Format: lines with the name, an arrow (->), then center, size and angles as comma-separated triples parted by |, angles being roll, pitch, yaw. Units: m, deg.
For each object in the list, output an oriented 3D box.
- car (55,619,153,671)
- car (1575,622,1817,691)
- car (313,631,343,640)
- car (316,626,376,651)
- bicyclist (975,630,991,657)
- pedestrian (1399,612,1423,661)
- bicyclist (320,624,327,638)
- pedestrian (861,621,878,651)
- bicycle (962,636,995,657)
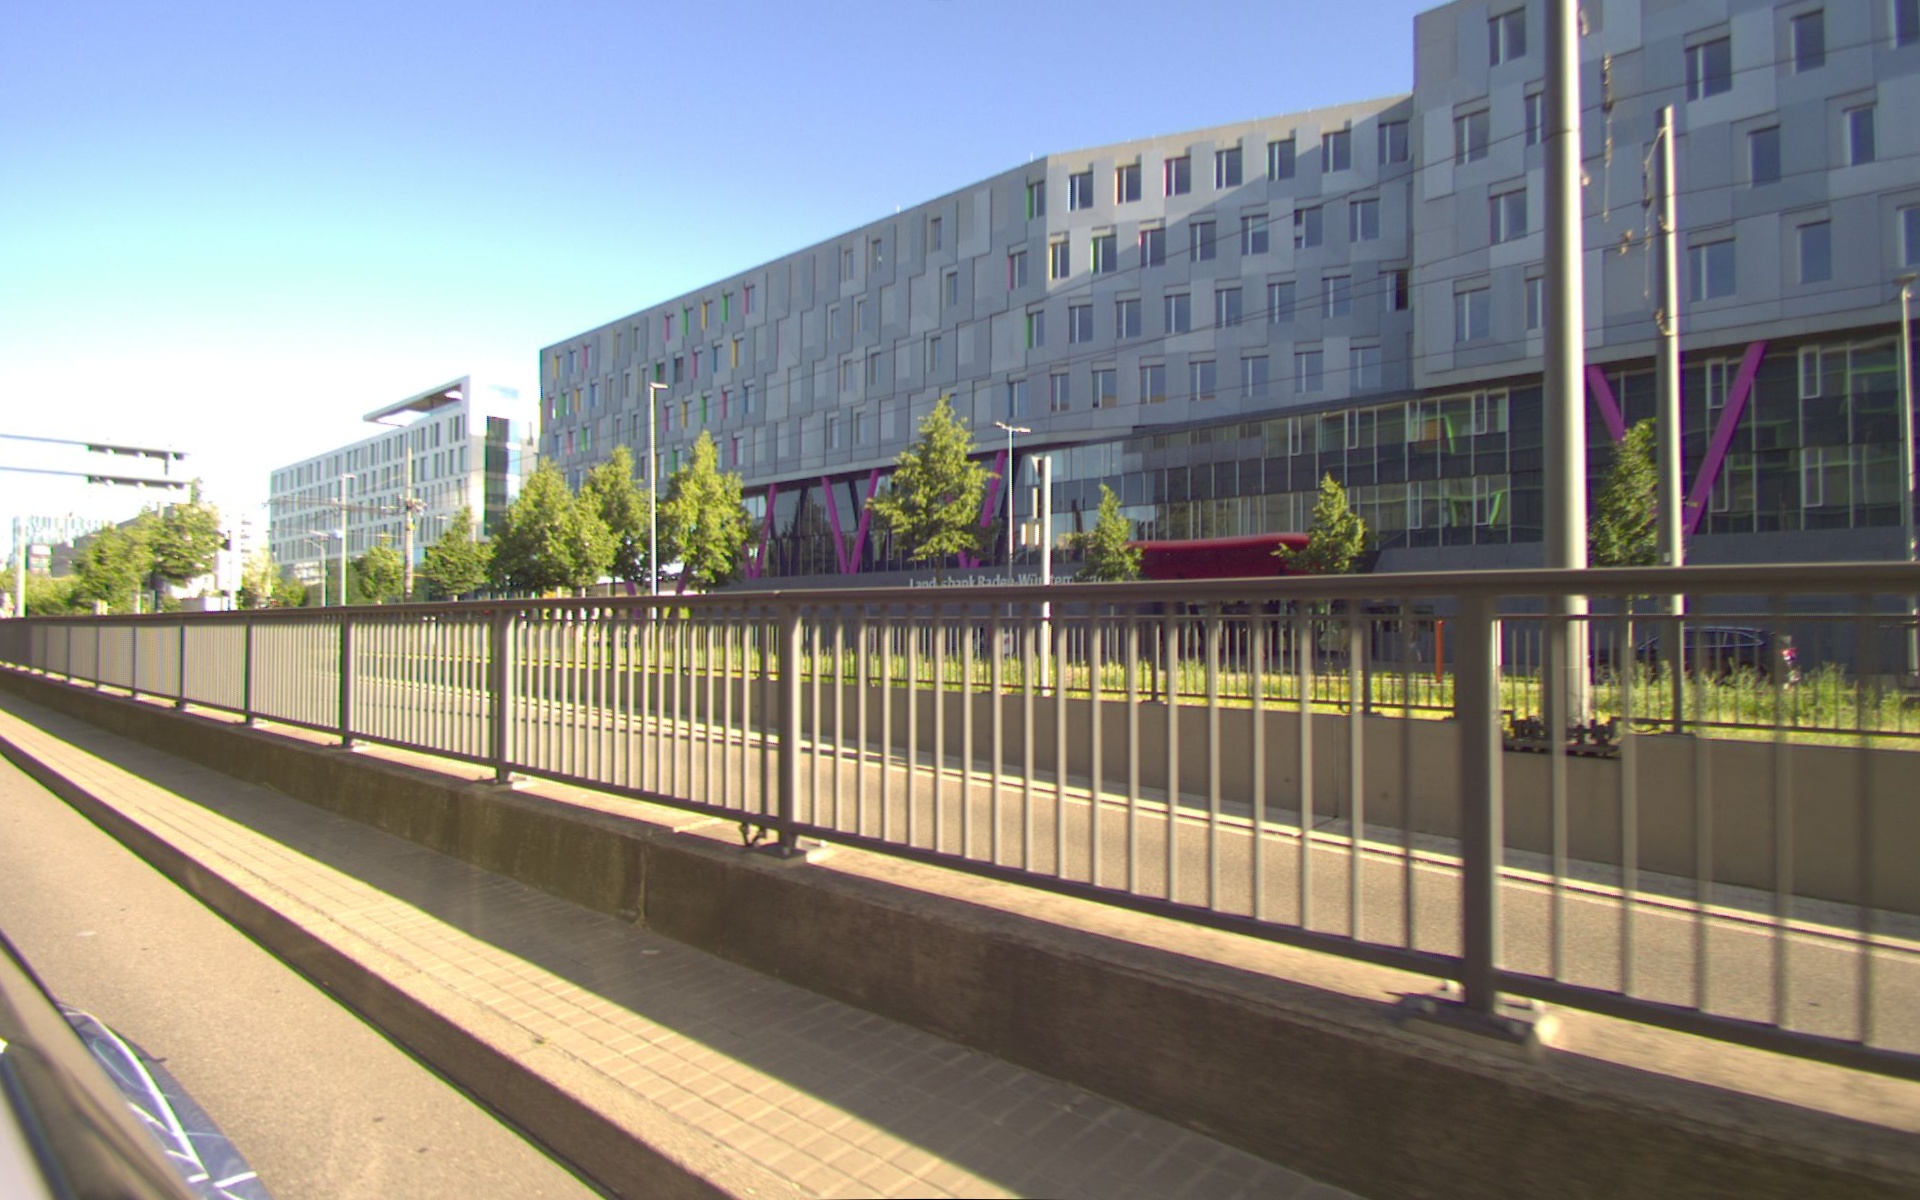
car -> -27.825, 1.424, 32.838 | 4.341, 1.538, 1.780 | -2, -1, 41
car -> 18.406, 1.362, 25.464 | 4.719, 1.538, 1.779 | -2, -1, 43
car -> -107.279, 5.966, 171.730 | 1.873, 1.365, 3.950 | -2, 0, 37
car -> -40.390, 2.541, 66.502 | 4.868, 1.574, 1.973 | -2, -2, 41
bicyclist -> 1.307, 2.450, 57.163 | 0.763, 1.507, 0.552 | -2, -3, 42
pedestrian -> 18.855, 1.519, 42.324 | 0.689, 2.029, 0.728 | -2, -2, 42
bicyclist -> -79.113, 3.818, 125.704 | 0.837, 1.739, 0.524 | -2, -3, 43
pedestrian -> -5.652, 2.229, 63.206 | 0.871, 1.836, 0.713 | -2, -3, 42
bicycle -> 1.038, 2.615, 56.855 | 1.975, 1.181, 0.514 | -2, -2, 42
